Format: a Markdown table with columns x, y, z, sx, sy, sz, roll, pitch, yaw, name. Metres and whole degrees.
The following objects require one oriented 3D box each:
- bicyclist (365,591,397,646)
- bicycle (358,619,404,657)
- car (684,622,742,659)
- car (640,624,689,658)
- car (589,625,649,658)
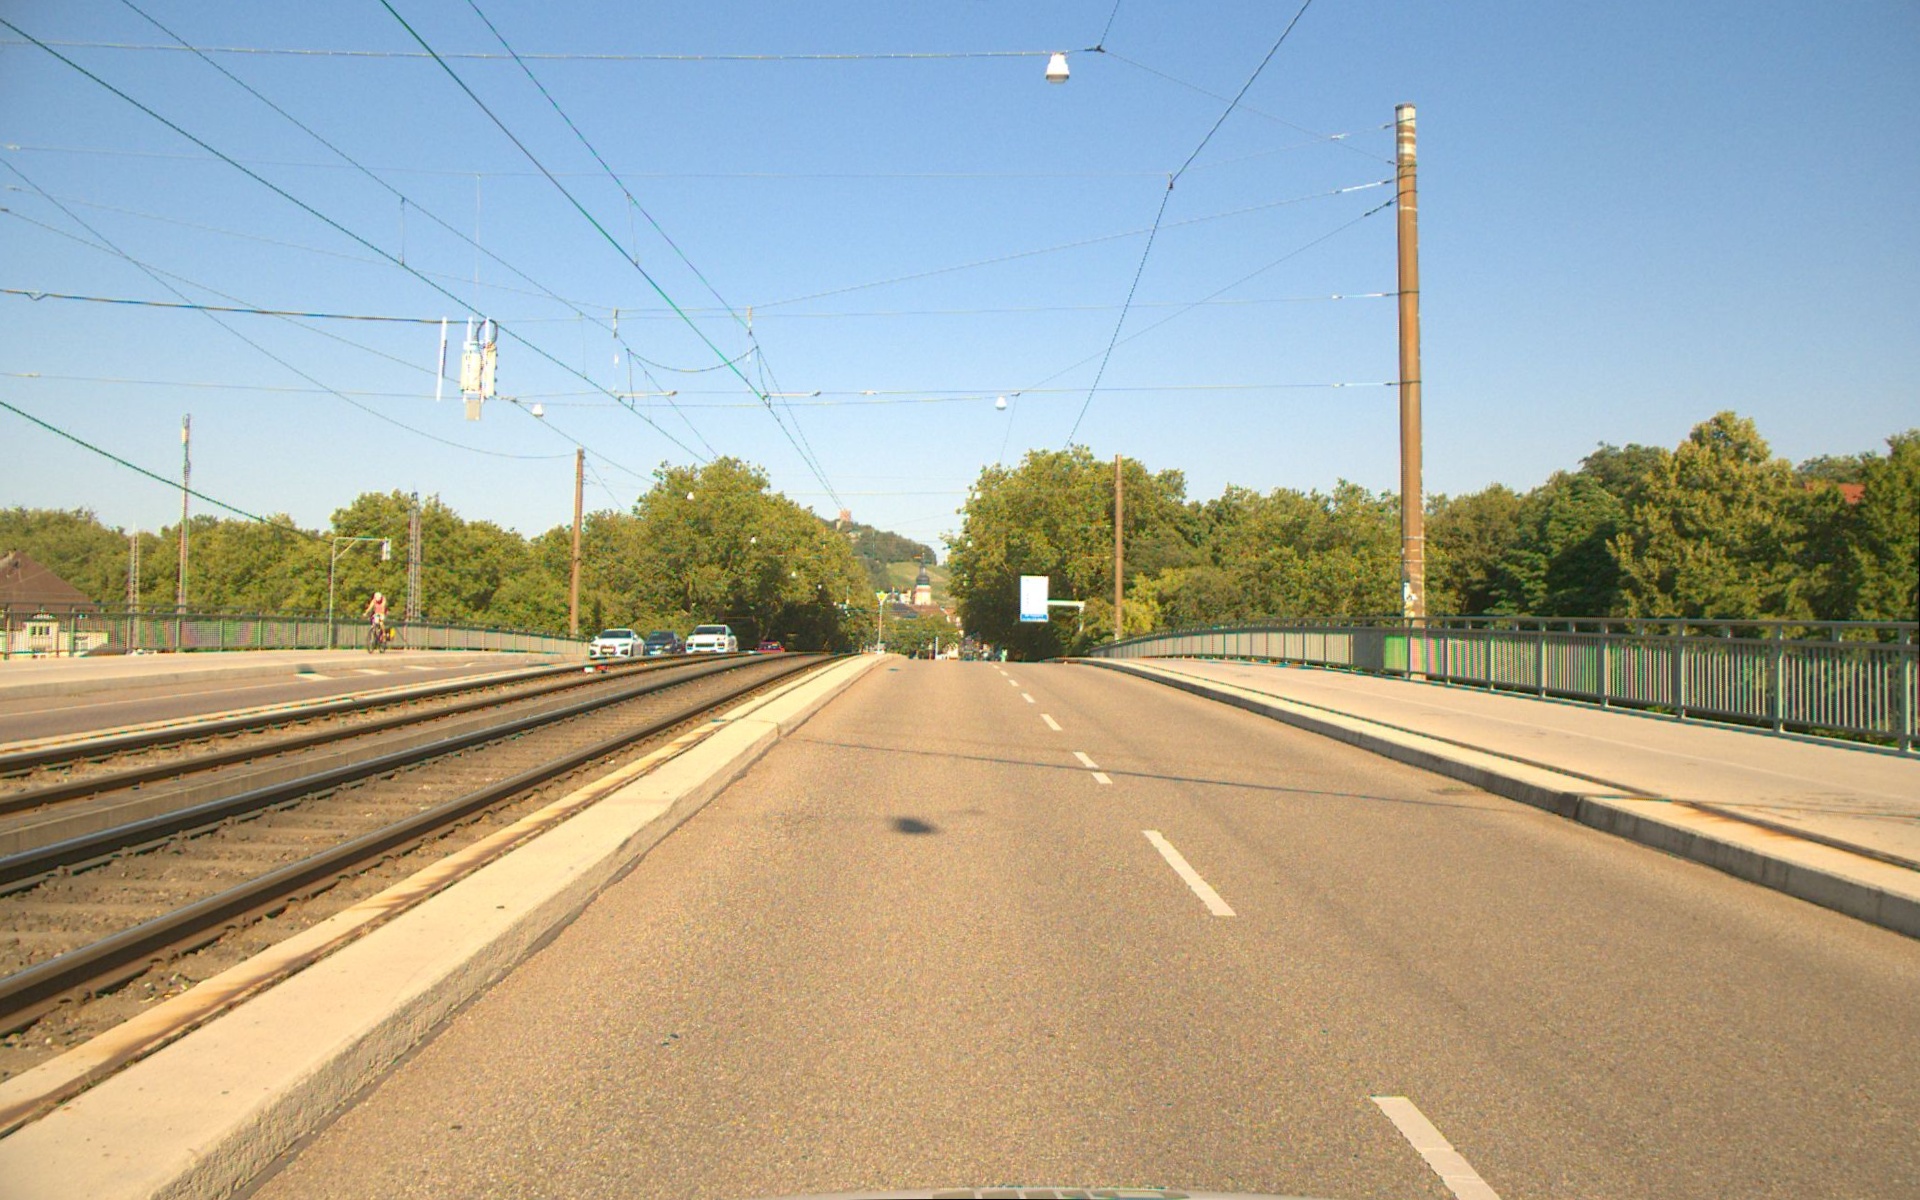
| x | y | z | sx | sy | sz | roll | pitch | yaw | name |
| --- | --- | --- | --- | --- | --- | --- | --- | --- | --- |
| -17.689 | 0.566 | 50.576 | 0.612 | 1.662 | 0.935 | 1 | -1 | 0 | bicyclist |
| -17.702 | 1.162 | 50.605 | 0.612 | 1.142 | 2.259 | 1 | -1 | 0 | bicycle |
| -11.486 | 1.878 | 77.261 | 1.960 | 1.666 | 5.089 | 1 | -1 | -1 | car |
| -14.975 | 2.073 | 83.967 | 1.743 | 1.679 | 4.445 | 1 | -1 | -1 | car |
| -14.918 | 1.804 | 72.527 | 1.649 | 1.380 | 4.919 | 1 | -1 | -1 | car |
